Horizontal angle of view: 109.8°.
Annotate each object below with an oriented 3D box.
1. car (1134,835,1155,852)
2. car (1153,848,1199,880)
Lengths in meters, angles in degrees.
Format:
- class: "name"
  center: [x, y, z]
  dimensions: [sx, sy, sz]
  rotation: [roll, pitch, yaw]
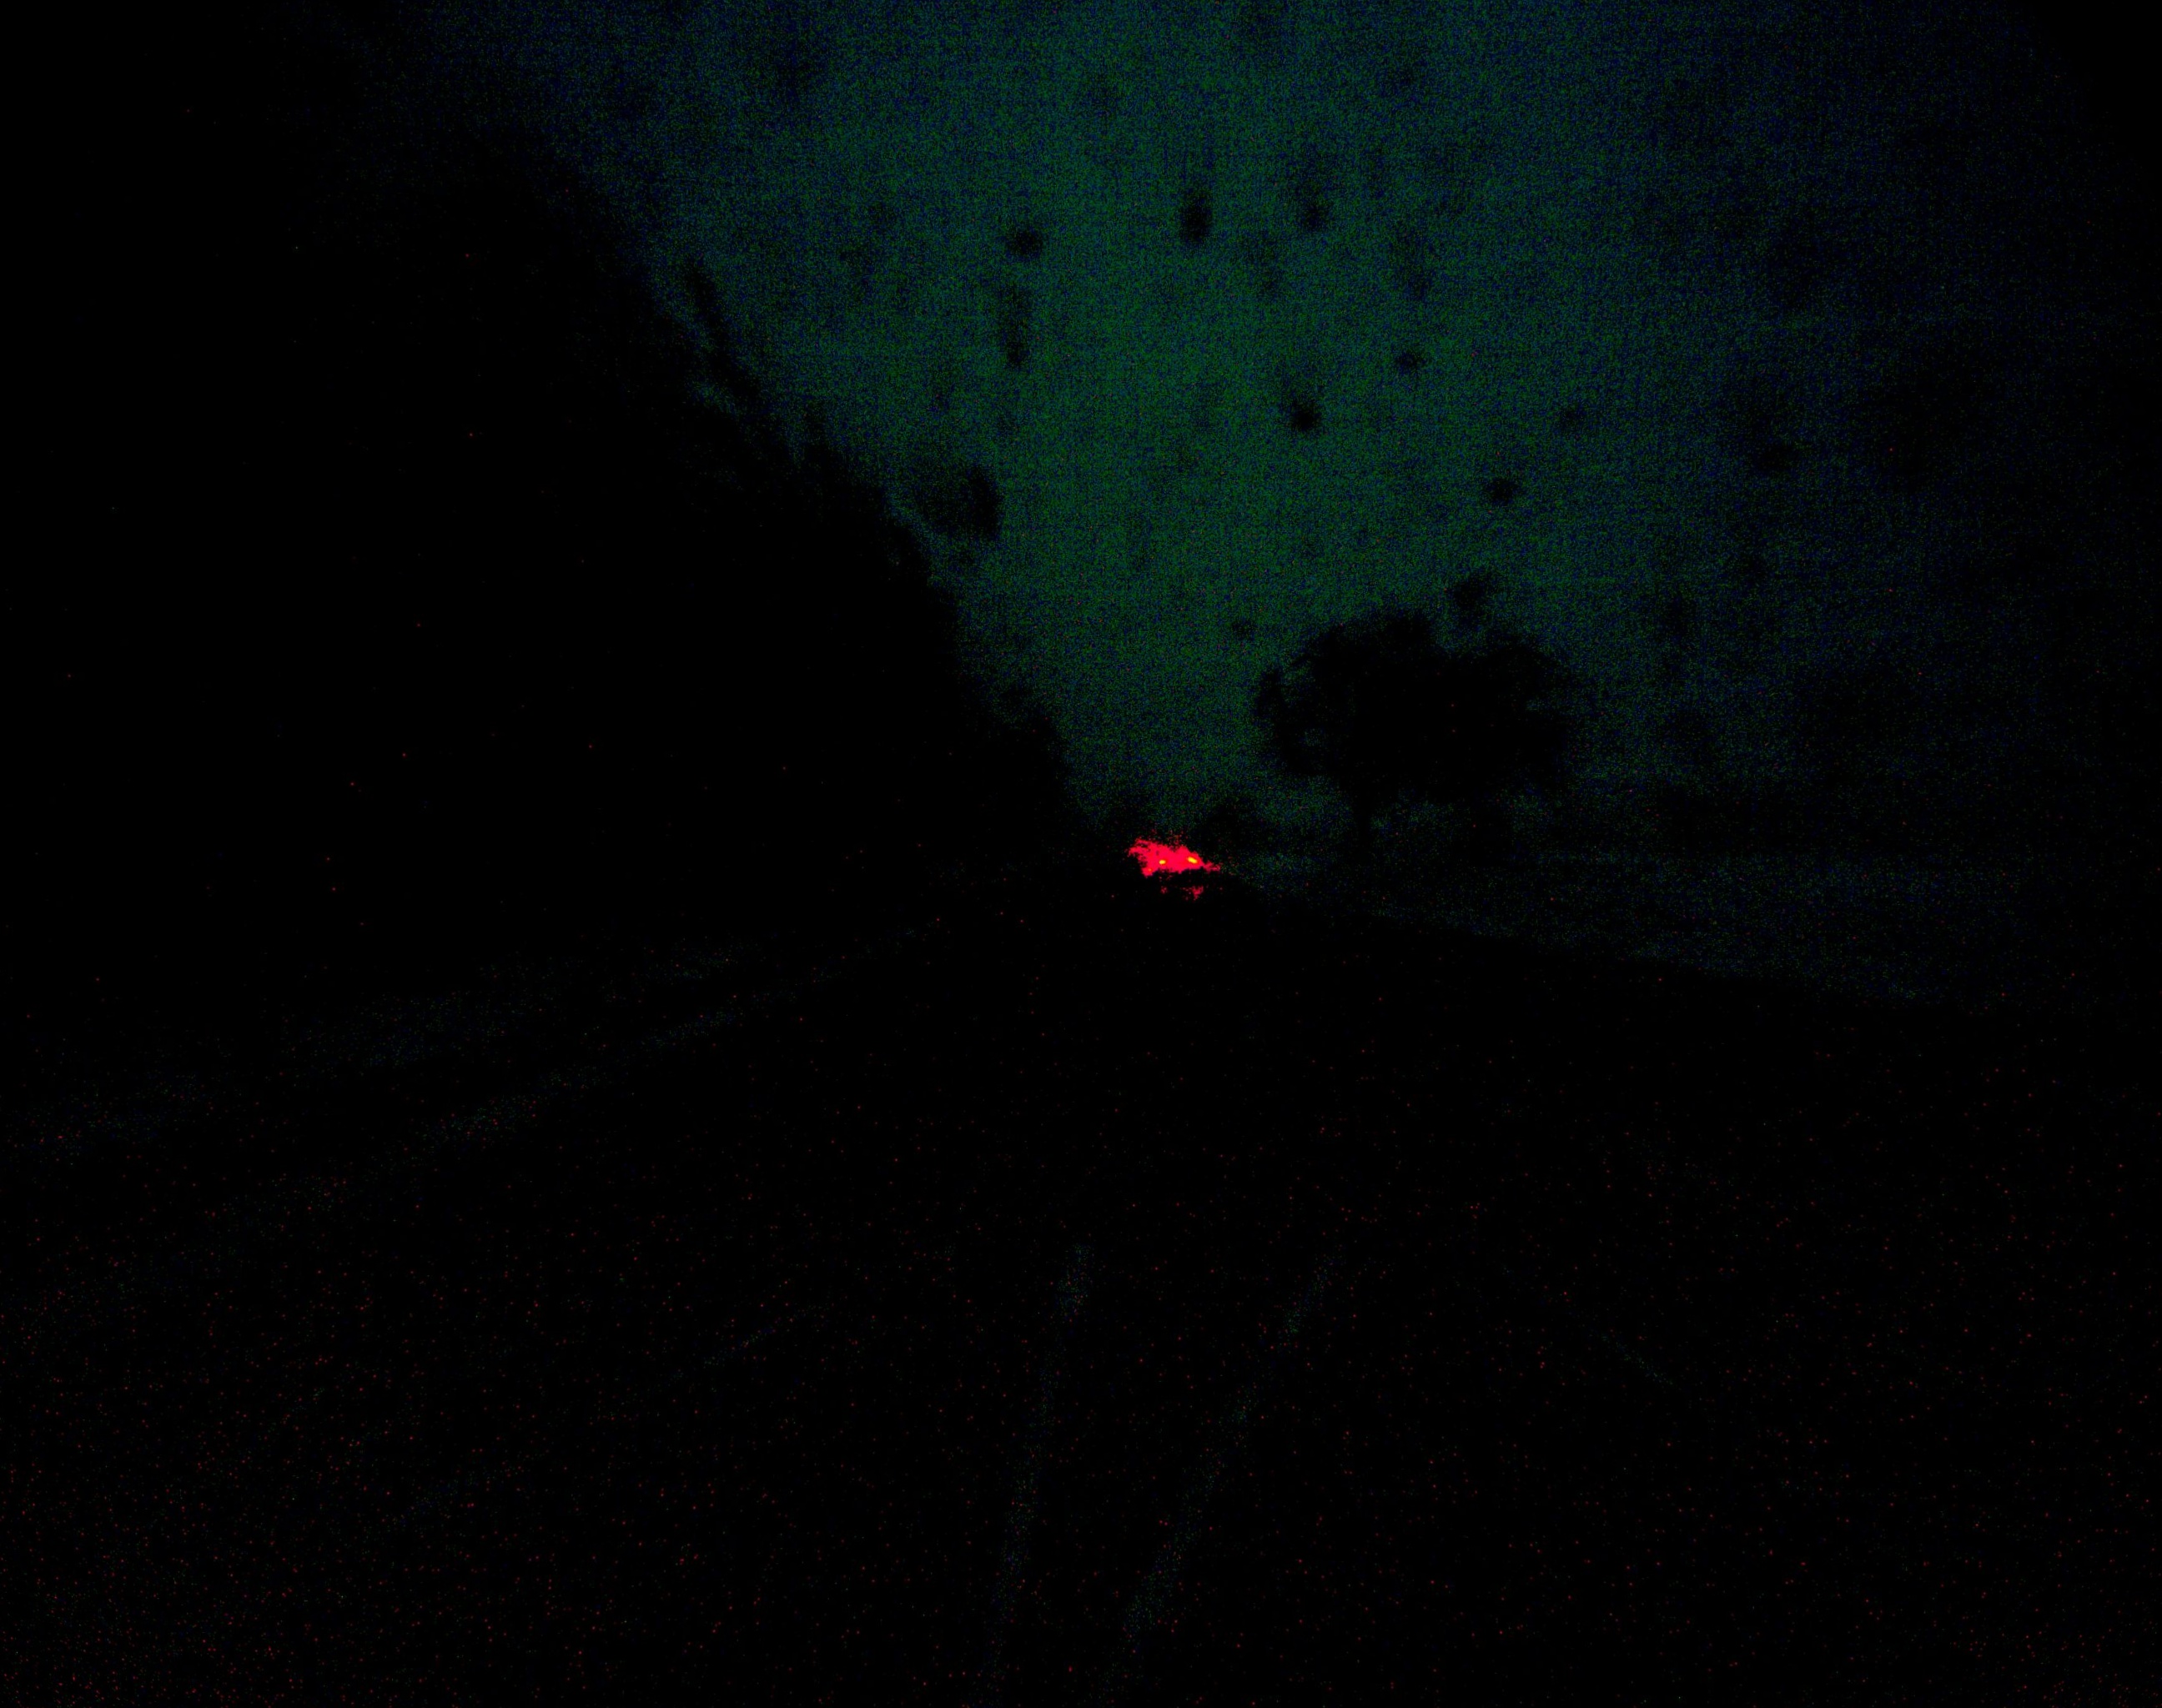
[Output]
- class: "car"
  center: [6.654, -1.050, 79.456]
  dimensions: [1.755, 1.683, 4.428]
  rotation: [-1, 1, 9]
- class: "car"
  center: [4.532, 0.458, 36.852]
  dimensions: [1.746, 1.477, 4.004]
  rotation: [0, 0, 0]
